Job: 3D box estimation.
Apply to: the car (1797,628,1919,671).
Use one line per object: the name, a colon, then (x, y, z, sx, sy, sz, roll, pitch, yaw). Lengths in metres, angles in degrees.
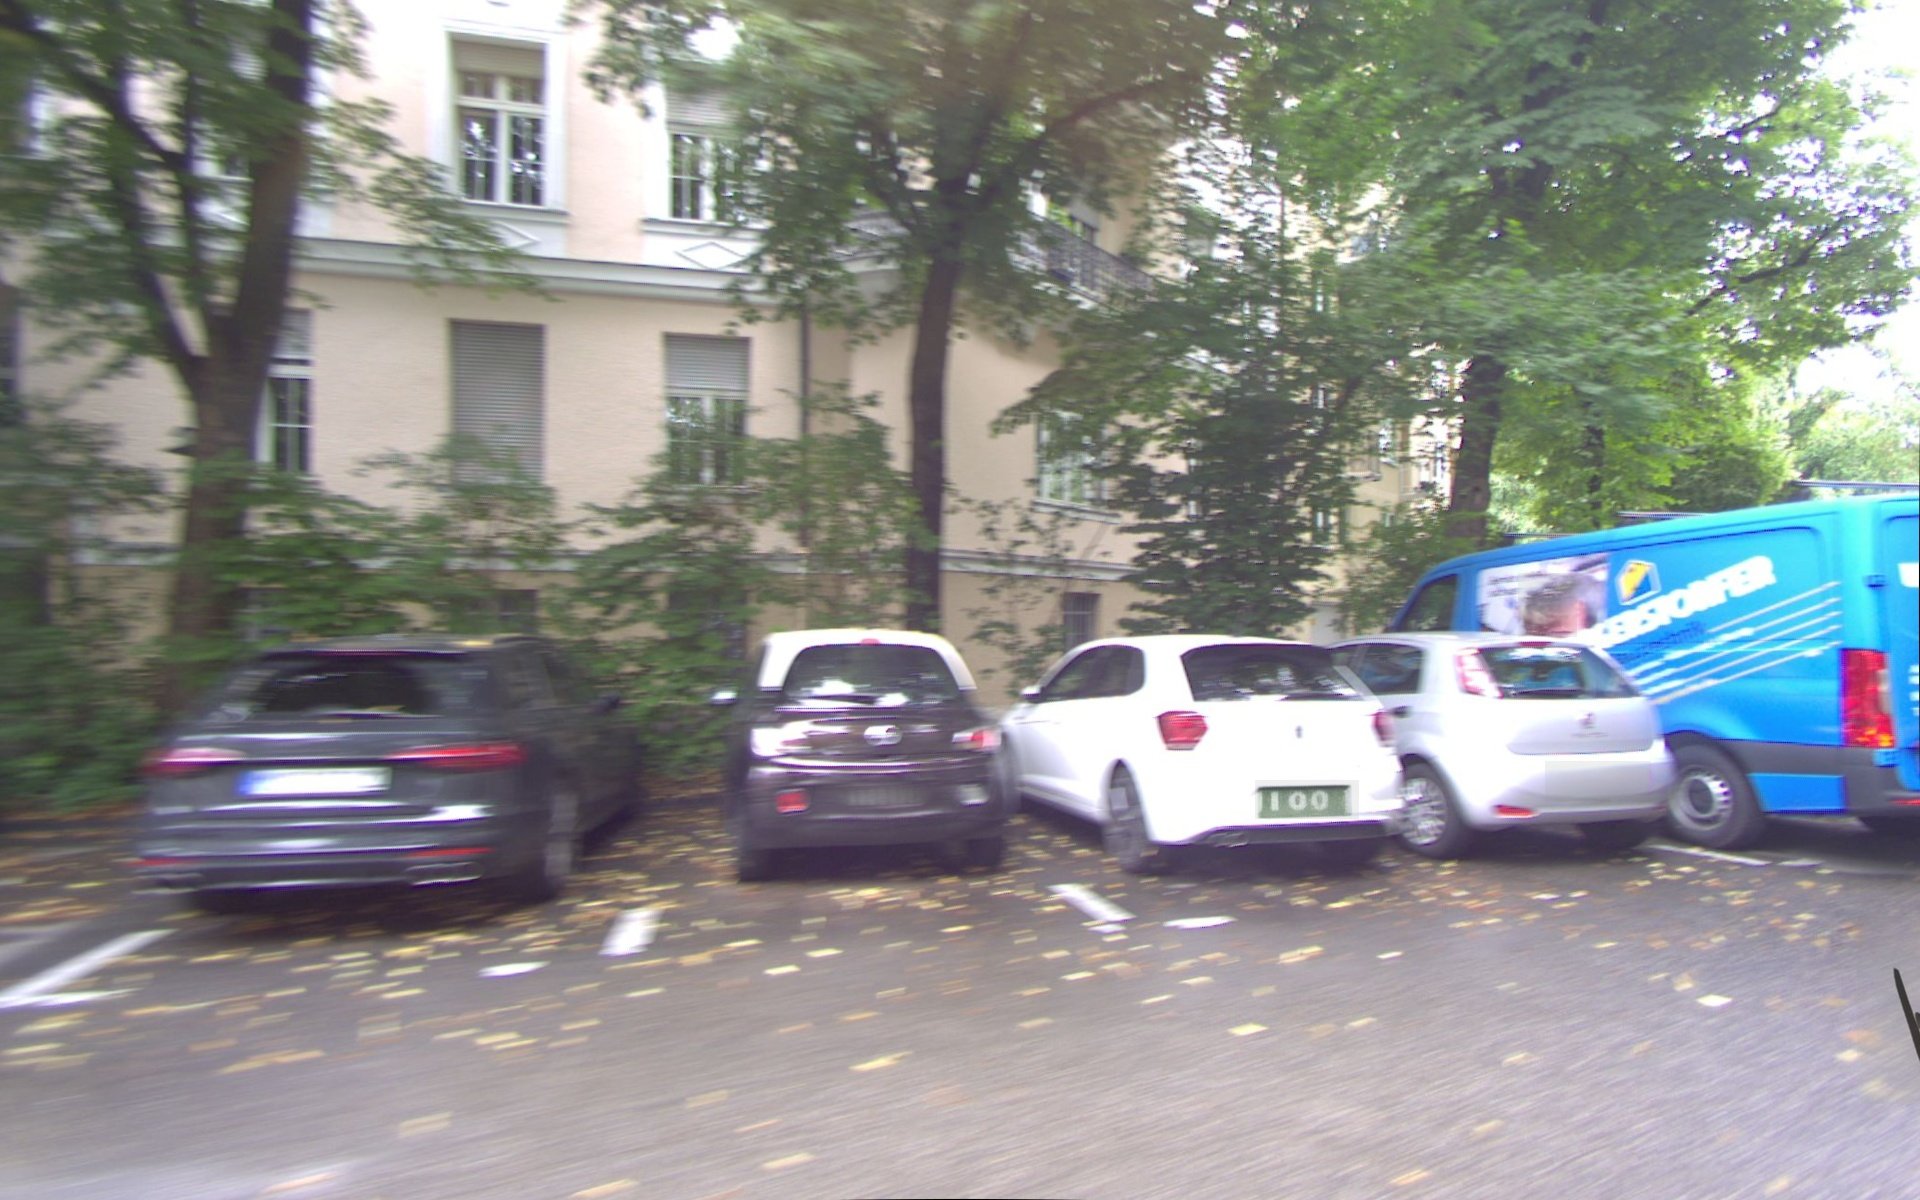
car: (34.837, 1.849, 37.938, 1.829, 1.515, 4.756, 1, -1, -43)

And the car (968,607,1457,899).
car: (1.452, 0.991, 7.614, 1.773, 1.532, 4.276, 0, -5, -14)

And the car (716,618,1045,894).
car: (-0.815, 0.978, 7.326, 1.802, 1.443, 3.743, 0, -5, -13)

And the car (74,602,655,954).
car: (-3.130, 0.860, 6.380, 1.831, 1.444, 4.156, 0, -3, -11)

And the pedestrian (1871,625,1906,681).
pedestrian: (28.072, 1.589, 30.377, 0.771, 1.639, 0.756, 0, 1, 44)

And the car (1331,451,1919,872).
car: (5.682, 0.515, 8.606, 2.030, 2.384, 5.484, 1, -3, -13)

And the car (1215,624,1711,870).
car: (3.553, 0.961, 7.872, 1.615, 1.451, 3.546, 1, -3, -12)
